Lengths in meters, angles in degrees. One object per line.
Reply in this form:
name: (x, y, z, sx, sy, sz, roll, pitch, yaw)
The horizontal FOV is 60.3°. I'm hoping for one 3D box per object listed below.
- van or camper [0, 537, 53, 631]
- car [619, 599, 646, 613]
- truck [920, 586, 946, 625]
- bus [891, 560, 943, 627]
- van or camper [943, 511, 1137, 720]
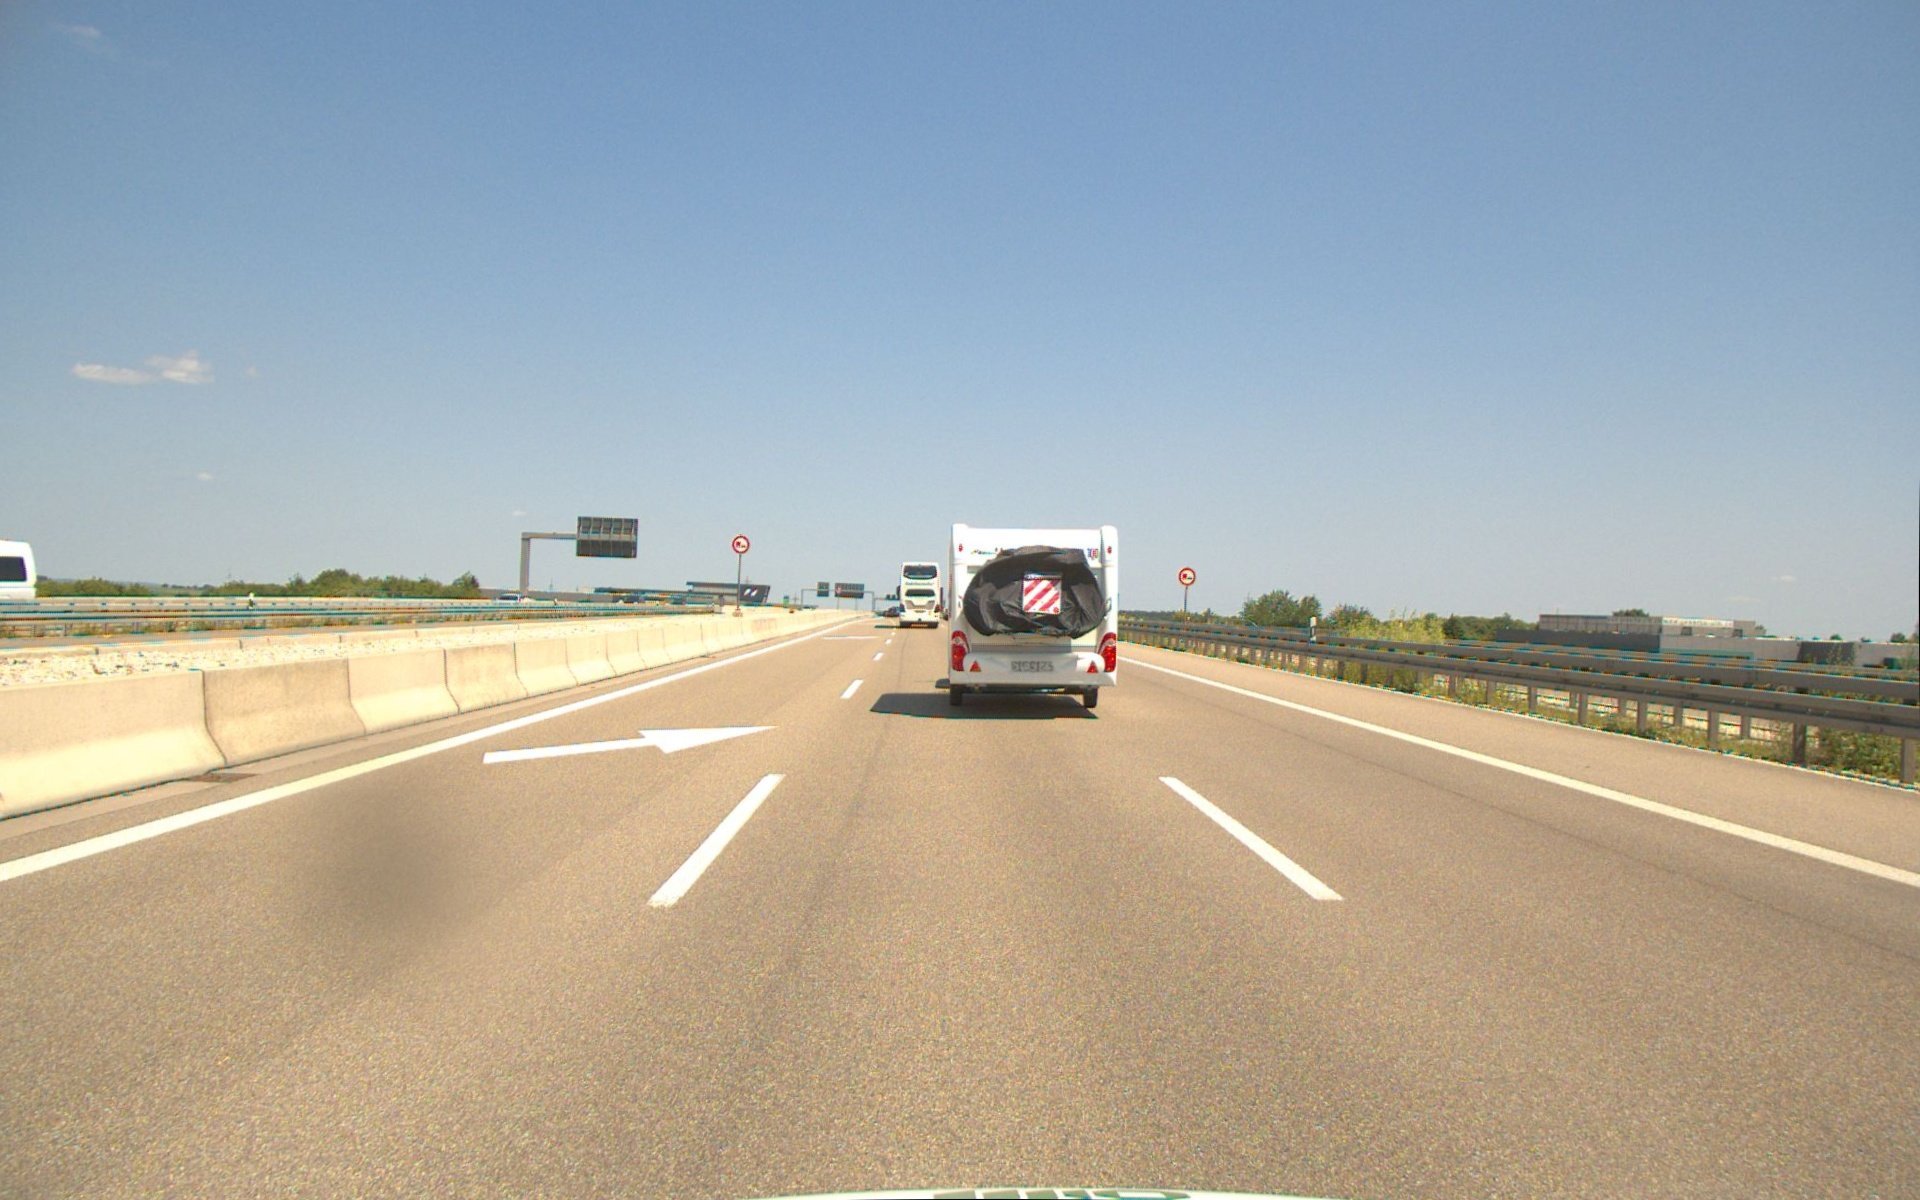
van or camper: (-30.434, -0.519, 49.444, 2.494, 2.871, 7.540, 1, 0, -1)
car: (-35.016, 0.669, 176.871, 1.953, 1.403, 4.362, 1, 0, 0)
truck: (-3.682, 0.791, 226.114, 3.311, 4.543, 13.560, 2, -3, -1)
bus: (-2.833, -0.419, 106.276, 2.921, 4.044, 9.098, 1, 0, -4)
van or camper: (0.988, 0.213, 25.151, 2.461, 2.638, 7.816, 1, 0, -1)
